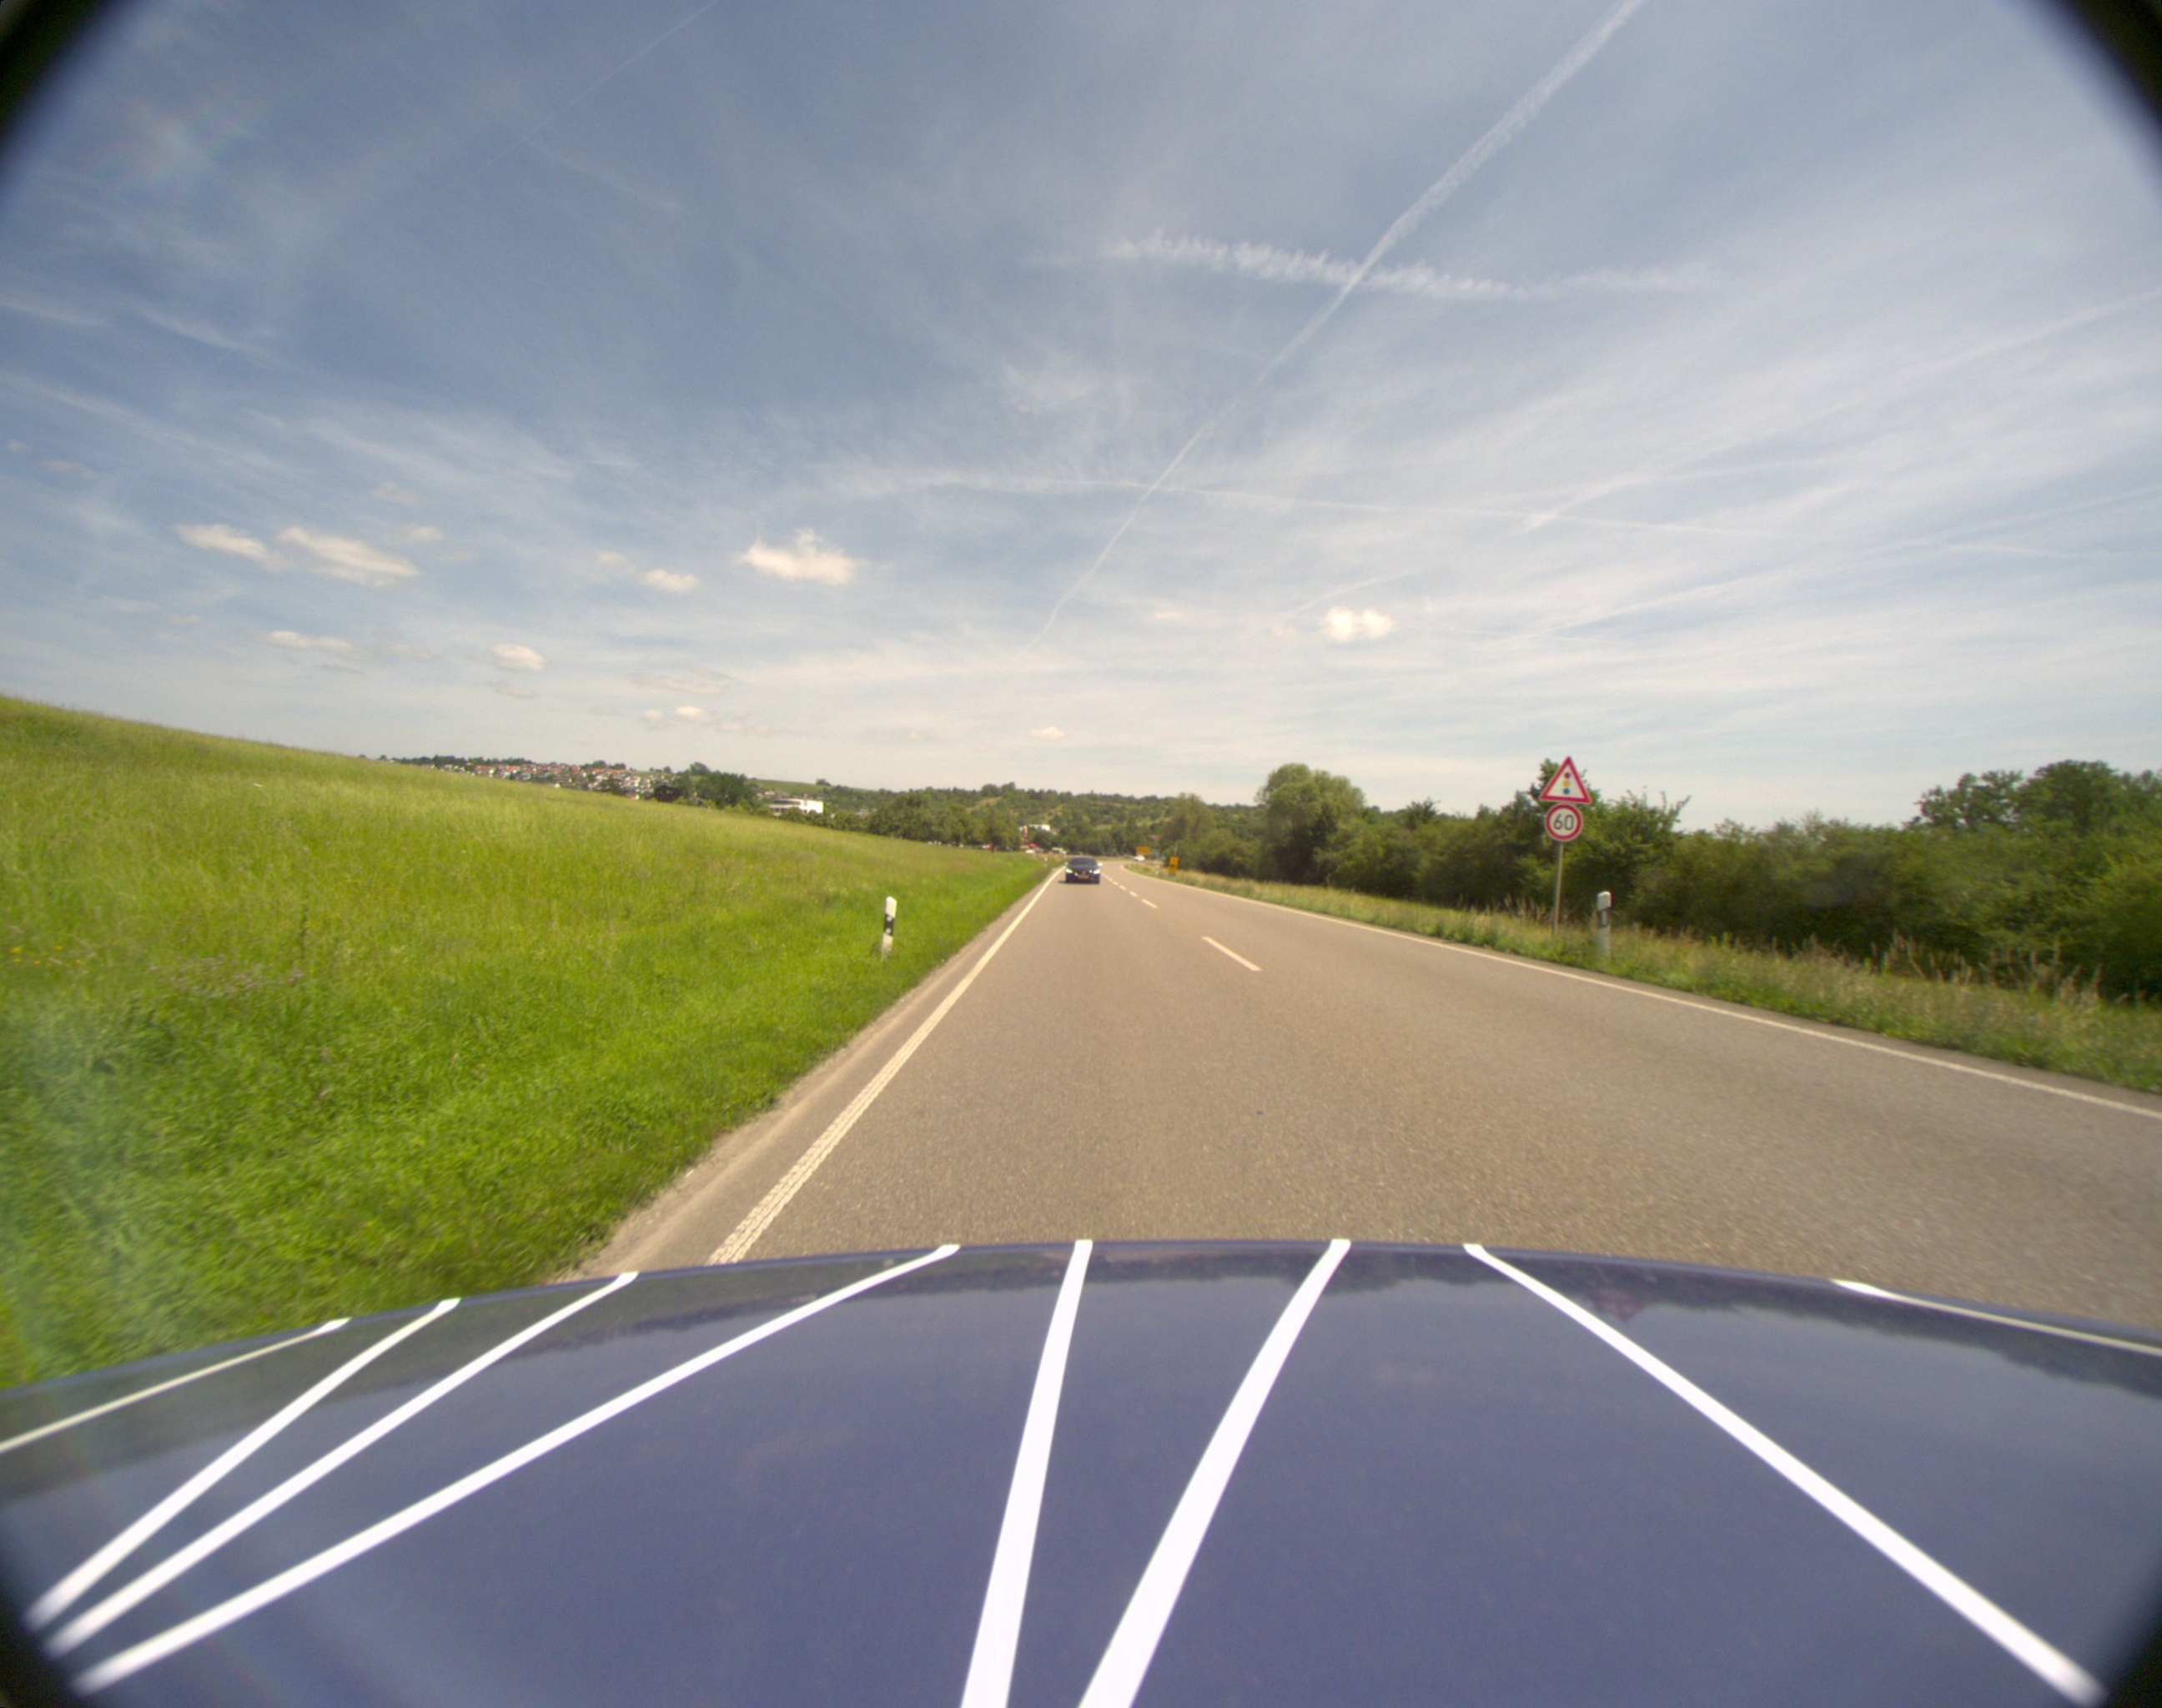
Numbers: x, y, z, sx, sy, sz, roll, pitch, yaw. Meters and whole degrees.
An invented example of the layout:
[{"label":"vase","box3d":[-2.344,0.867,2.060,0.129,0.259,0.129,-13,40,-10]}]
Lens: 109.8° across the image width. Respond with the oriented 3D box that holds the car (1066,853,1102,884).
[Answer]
[{"label":"car","box3d":[0.216,0.738,40.688,1.785,1.440,4.604,2,1,1]}]
